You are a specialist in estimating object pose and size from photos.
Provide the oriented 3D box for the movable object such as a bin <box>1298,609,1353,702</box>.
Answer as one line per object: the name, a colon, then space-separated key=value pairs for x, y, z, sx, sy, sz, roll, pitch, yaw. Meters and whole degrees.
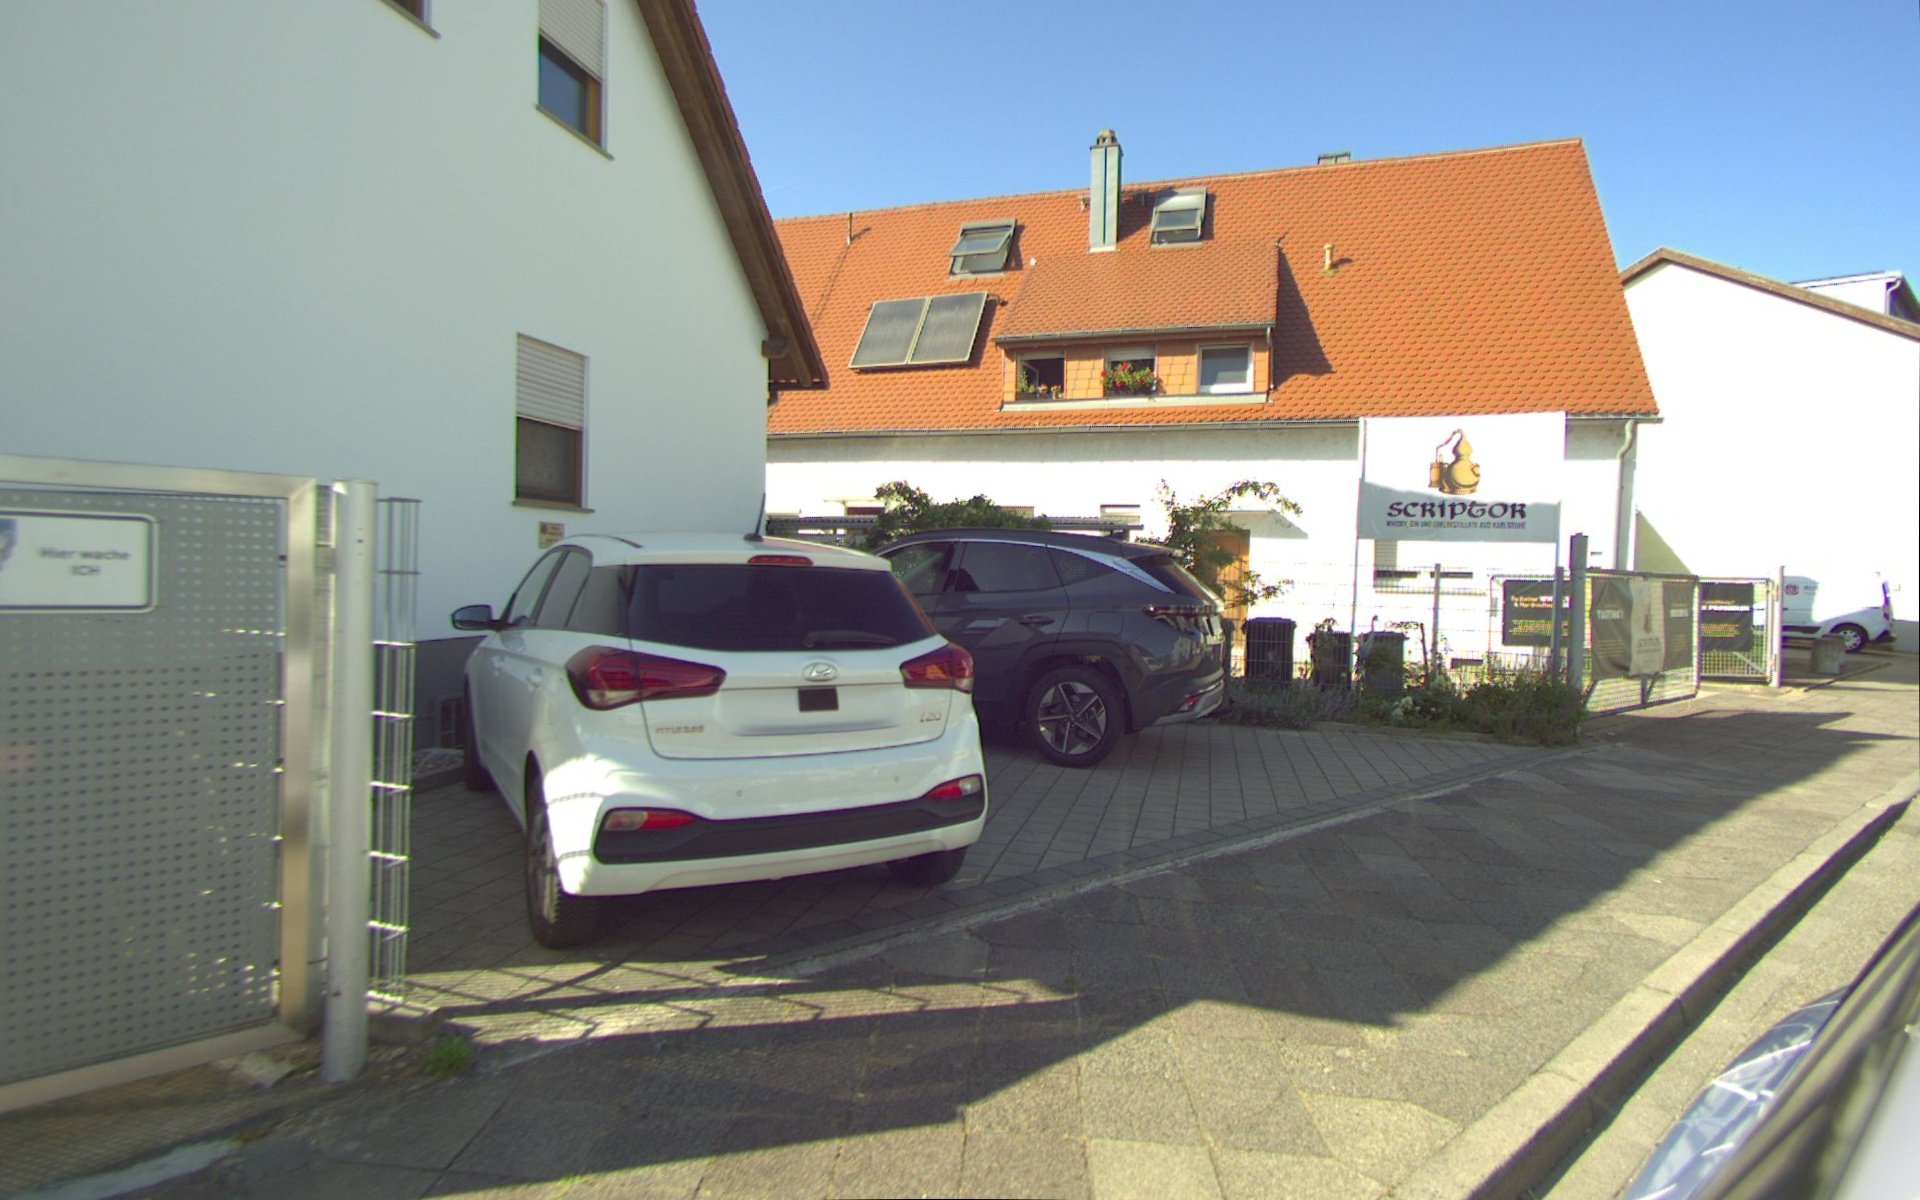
movable object such as a bin: x=3.807 y=0.568 z=10.542 sx=0.510 sy=0.934 sz=0.420 roll=-1 pitch=0 yaw=21

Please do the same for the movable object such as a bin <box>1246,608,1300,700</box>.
movable object such as a bin: x=3.325 y=0.565 z=10.743 sx=0.510 sy=0.934 sz=0.420 roll=-1 pitch=0 yaw=21

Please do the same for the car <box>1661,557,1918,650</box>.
car: x=20.714 y=-0.002 z=25.505 sx=4.760 sy=1.909 sz=1.880 roll=6 pitch=4 yaw=41

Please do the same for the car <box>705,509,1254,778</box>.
car: x=0.173 y=0.189 z=8.175 sx=4.005 sy=1.709 sz=1.897 roll=3 pitch=2 yaw=24

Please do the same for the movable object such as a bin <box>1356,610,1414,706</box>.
movable object such as a bin: x=4.317 y=0.576 z=10.289 sx=0.510 sy=0.934 sz=0.420 roll=-1 pitch=0 yaw=21

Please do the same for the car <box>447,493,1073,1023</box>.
car: x=-1.376 y=0.347 z=5.026 sx=1.810 sy=1.510 sz=3.930 roll=0 pitch=3 yaw=-31
